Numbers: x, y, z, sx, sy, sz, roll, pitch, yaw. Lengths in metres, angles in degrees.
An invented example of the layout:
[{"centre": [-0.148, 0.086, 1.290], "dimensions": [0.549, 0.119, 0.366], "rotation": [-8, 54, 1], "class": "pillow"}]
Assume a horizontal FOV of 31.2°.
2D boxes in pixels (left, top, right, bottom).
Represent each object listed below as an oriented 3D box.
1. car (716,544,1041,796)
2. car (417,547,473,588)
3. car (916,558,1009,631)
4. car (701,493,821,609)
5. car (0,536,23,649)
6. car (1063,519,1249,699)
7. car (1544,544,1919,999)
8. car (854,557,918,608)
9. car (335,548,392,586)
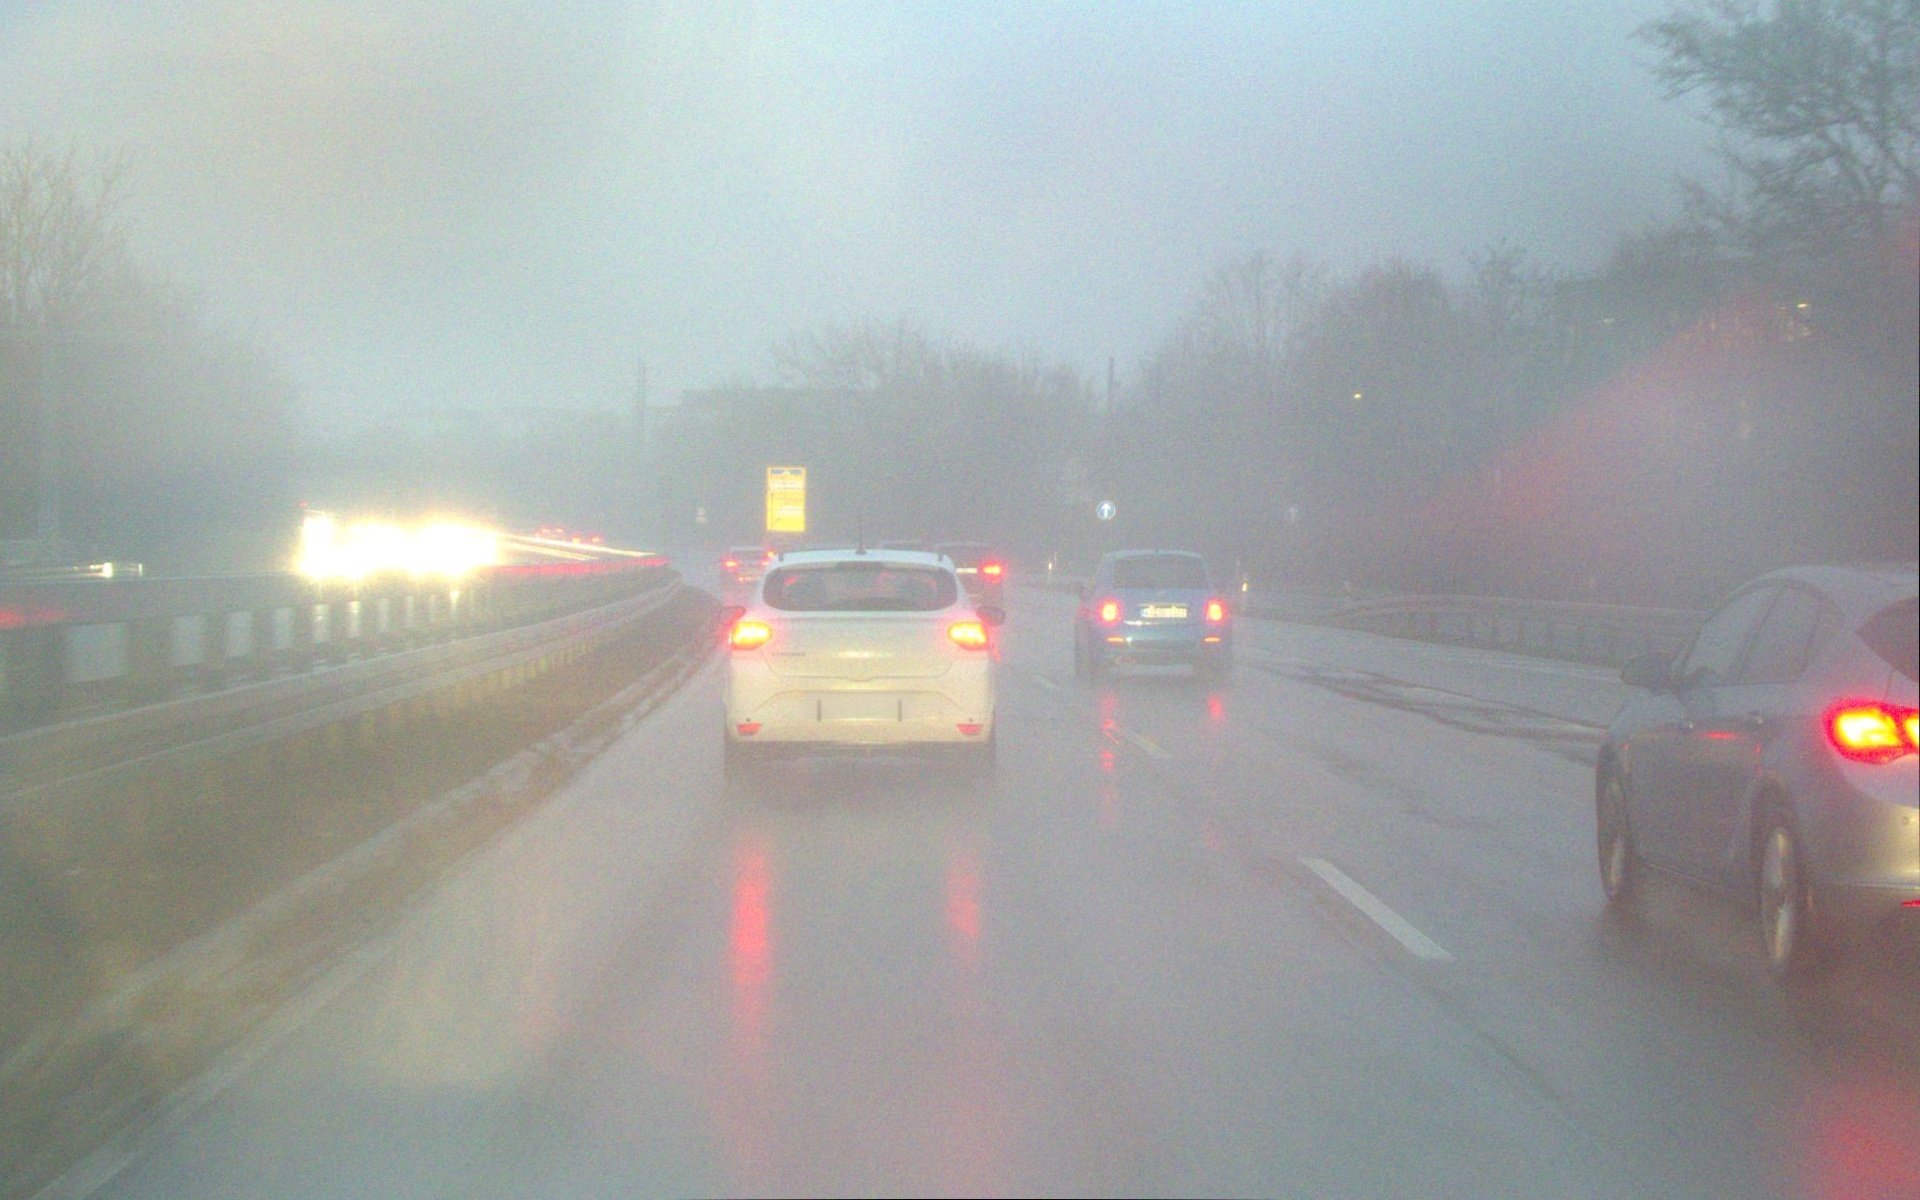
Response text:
[{"centre": [-0.608, 0.413, 23.583], "dimensions": [2.024, 1.569, 4.001], "rotation": [0, 1, -3], "class": "car"}, {"centre": [-20.276, -1.289, 135.542], "dimensions": [1.837, 1.550, 4.356], "rotation": [0, 1, -4], "class": "car"}, {"centre": [0.028, -0.136, 82.983], "dimensions": [1.932, 1.541, 3.774], "rotation": [-6, 1, -3], "class": "car"}, {"centre": [-3.625, -0.876, 62.001], "dimensions": [1.993, 2.007, 4.001], "rotation": [0, 1, -5], "class": "car"}, {"centre": [-12.977, -0.089, 42.873], "dimensions": [1.697, 1.436, 3.682], "rotation": [0, 1, -2], "class": "car"}, {"centre": [2.266, 0.075, 40.574], "dimensions": [1.932, 2.012, 3.774], "rotation": [0, 1, 0], "class": "car"}, {"centre": [3.625, 0.542, 13.467], "dimensions": [1.849, 1.496, 4.263], "rotation": [0, 1, -1], "class": "car"}, {"centre": [-2.298, -0.562, 106.284], "dimensions": [1.932, 1.541, 3.774], "rotation": [0, 1, -2], "class": "car"}, {"centre": [-24.637, -1.373, 142.133], "dimensions": [1.837, 1.550, 4.356], "rotation": [0, 1, -3], "class": "car"}]
